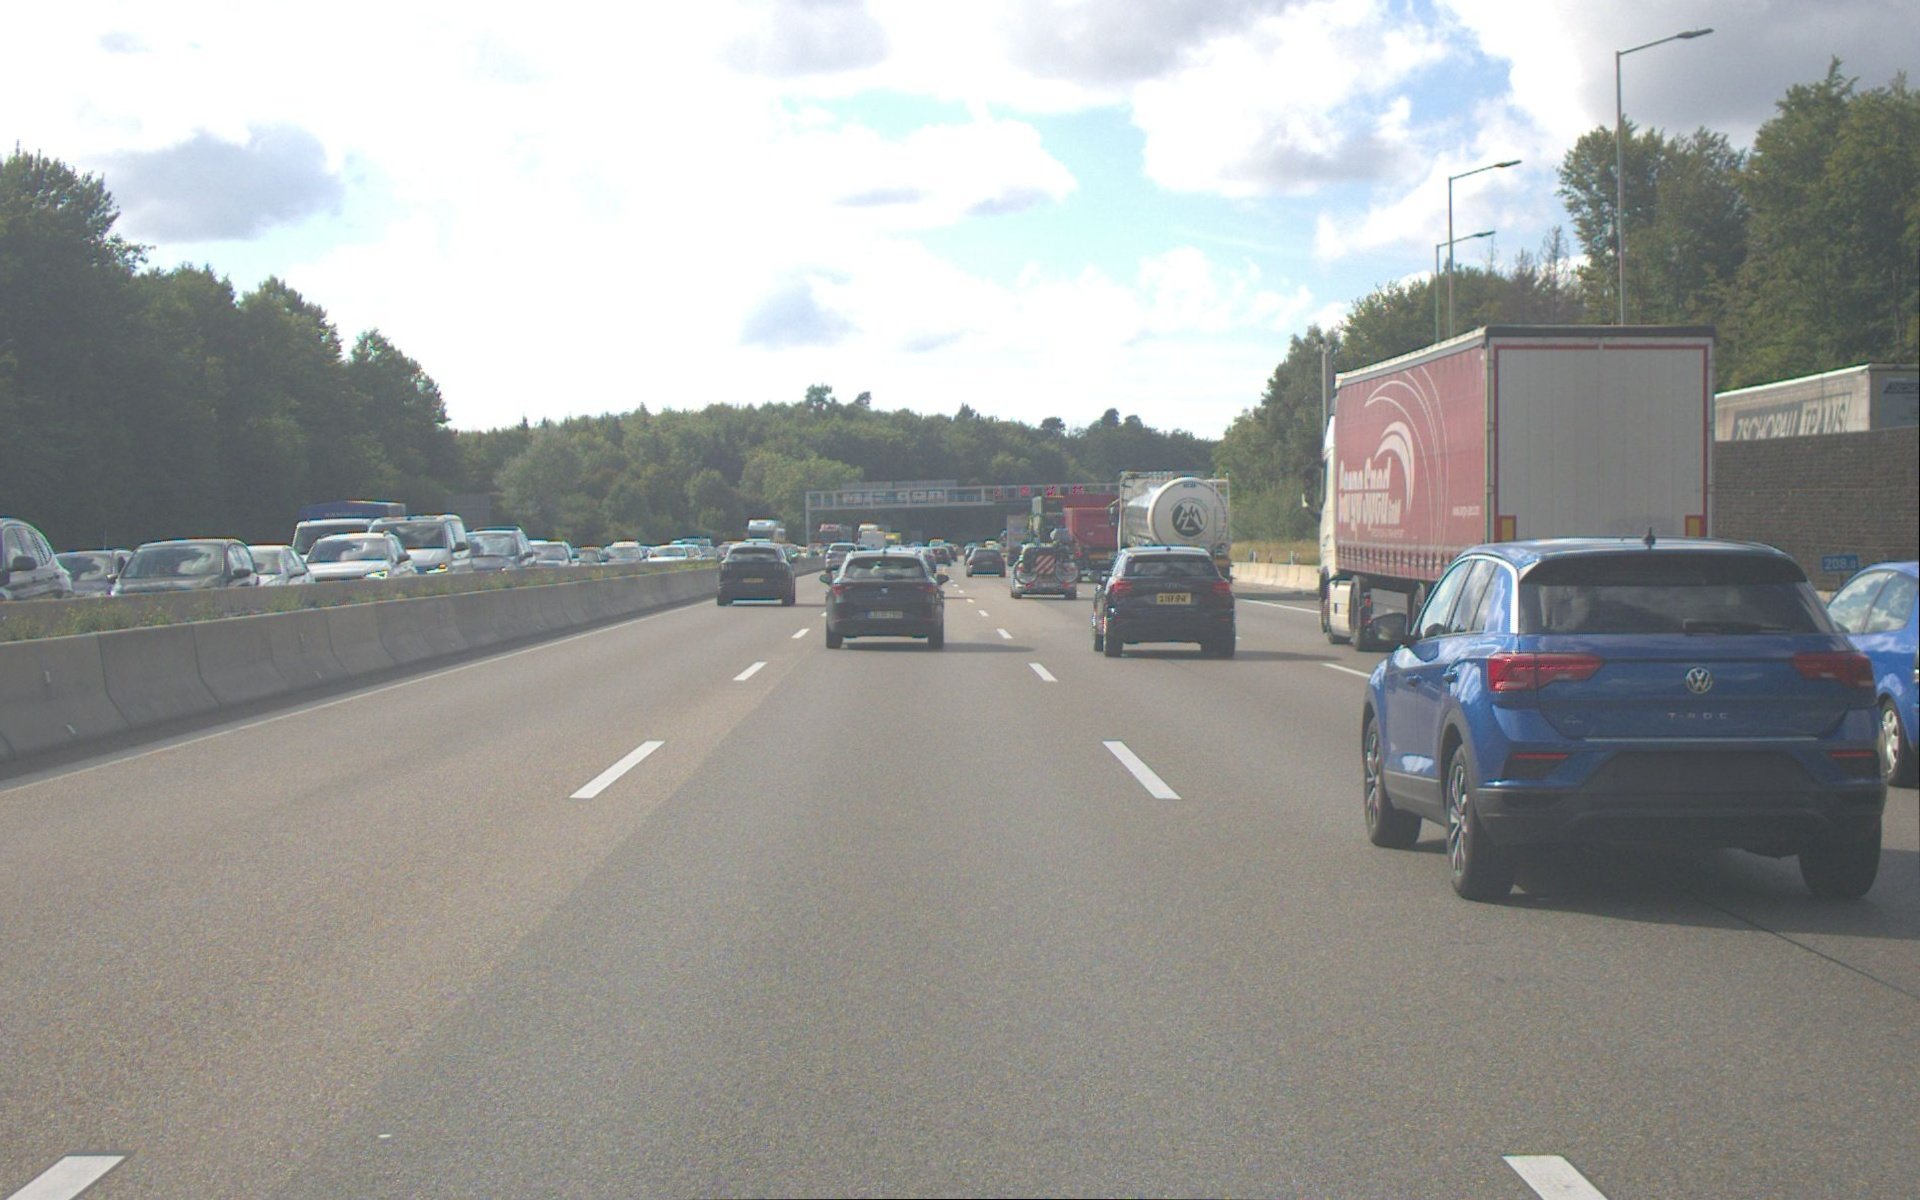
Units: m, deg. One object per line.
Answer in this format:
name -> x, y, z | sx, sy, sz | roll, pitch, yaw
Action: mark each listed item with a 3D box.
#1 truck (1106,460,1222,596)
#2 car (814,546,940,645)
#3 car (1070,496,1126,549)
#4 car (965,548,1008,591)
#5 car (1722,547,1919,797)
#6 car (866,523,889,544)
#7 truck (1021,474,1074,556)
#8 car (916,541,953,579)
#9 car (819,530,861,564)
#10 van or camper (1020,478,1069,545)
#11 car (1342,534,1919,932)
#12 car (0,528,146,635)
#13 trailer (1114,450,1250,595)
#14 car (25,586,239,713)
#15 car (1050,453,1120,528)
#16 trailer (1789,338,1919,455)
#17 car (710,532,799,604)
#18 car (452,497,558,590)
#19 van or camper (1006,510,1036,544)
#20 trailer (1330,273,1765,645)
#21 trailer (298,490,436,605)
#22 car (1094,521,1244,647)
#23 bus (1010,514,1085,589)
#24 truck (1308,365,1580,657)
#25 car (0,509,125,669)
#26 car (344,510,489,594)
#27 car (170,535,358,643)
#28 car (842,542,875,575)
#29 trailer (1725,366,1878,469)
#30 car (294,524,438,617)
truck -> 6.430, -2.217, 109.206 | 3.045, 4.146, 7.127 | 0, 0, -2
car -> -1.275, -0.062, 51.328 | 1.734, 1.360, 4.000 | -2, 0, -3
car -> 5.561, -3.123, 139.006 | 1.993, 2.007, 4.000 | 1, -1, -1
car -> 1.287, -1.479, 167.778 | 1.993, 2.007, 4.000 | 1, 0, -1
car -> 6.506, 0.429, 22.730 | 1.715, 1.506, 4.302 | -1, 0, -4
car -> -6.144, -4.925, 256.216 | 1.623, 1.465, 3.814 | 1, 0, 0
truck -> 4.203, -4.072, 167.163 | 2.358, 3.560, 11.265 | 1, -1, 1
car -> -1.434, -2.224, 192.576 | 1.993, 2.007, 4.000 | -1, -1, -1
car -> -6.565, -2.871, 188.246 | 2.154, 1.770, 4.000 | 1, 0, 0
van or camper -> 4.257, -4.451, 173.835 | 2.351, 3.133, 5.710 | 1, -1, 1
car -> 3.003, 0.489, 16.039 | 1.924, 1.536, 4.645 | 1, 1, 0
car -> -14.164, -0.313, 53.343 | 1.993, 1.567, 4.357 | 1, 1, 0
trailer -> 6.545, -2.197, 103.055 | 3.036, 4.002, 12.245 | 0, 0, -1
car -> -11.115, 0.638, 46.380 | 1.993, 1.567, 3.511 | 1, 1, 0
car -> 5.415, -4.743, 149.282 | 2.866, 2.981, 5.149 | 1, -1, 1
trailer -> 19.889, -4.346, 74.535 | 2.050, 2.007, 6.964 | 1, -1, -1
car -> -5.177, -0.826, 87.021 | 1.993, 1.770, 4.000 | -1, 1, 0
car -> -10.624, -1.287, 80.524 | 1.993, 2.007, 4.677 | 1, -1, -2
van or camper -> 4.543, -5.406, 255.736 | 2.083, 2.484, 4.225 | 0, 1, -1
trailer -> 7.168, -1.451, 44.516 | 3.038, 4.021, 13.890 | 1, -1, -1
trailer -> -15.136, -1.332, 88.250 | 2.278, 2.776, 8.542 | 1, 1, -2
car -> 2.864, -0.212, 47.849 | 1.799, 1.639, 4.000 | 1, 0, 0
bus -> 2.472, -1.349, 97.679 | 1.993, 2.007, 4.000 | 1, -1, 0
truck -> 7.085, -1.208, 51.178 | 3.080, 4.050, 6.069 | 1, -1, -1
car -> -10.391, -0.166, 35.973 | 1.993, 1.567, 5.207 | 1, 1, 0
car -> -10.939, -0.981, 69.509 | 1.993, 1.567, 5.329 | 2, 1, 0
car -> -10.735, -0.203, 53.318 | 1.993, 1.567, 4.357 | 1, 1, 0
car -> -6.371, -2.616, 215.837 | 1.993, 2.007, 4.001 | 1, 1, -3
trailer -> 19.765, -4.258, 81.029 | 2.045, 2.007, 6.006 | 1, -1, -1
car -> -10.535, -0.547, 61.260 | 1.765, 1.567, 4.357 | 1, 1, 0
